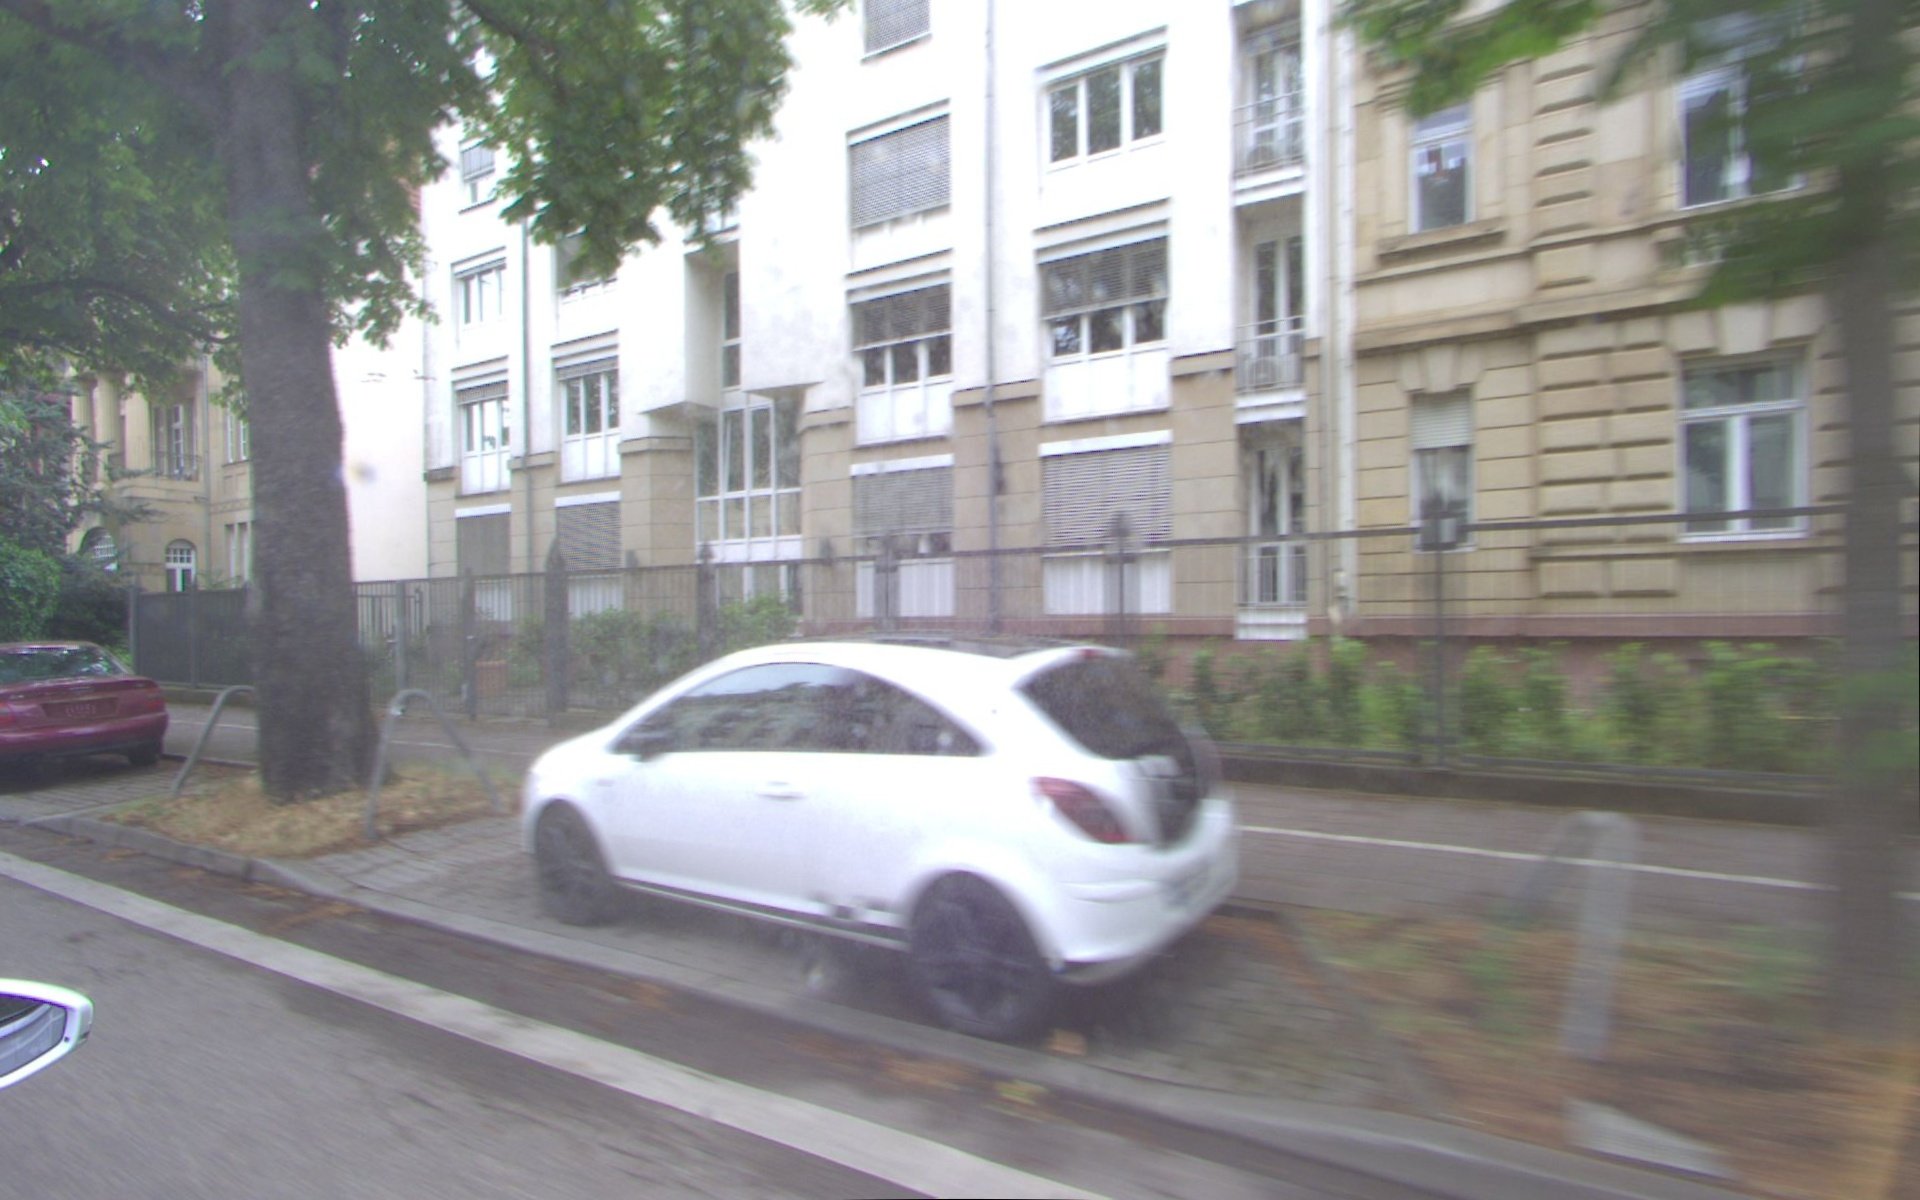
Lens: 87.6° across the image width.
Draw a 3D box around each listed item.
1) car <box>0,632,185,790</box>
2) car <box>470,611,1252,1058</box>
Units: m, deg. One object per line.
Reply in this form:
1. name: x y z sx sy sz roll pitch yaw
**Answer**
1. car: -10.484 1.104 11.131 4.167 1.418 1.598 -1 1 32
2. car: -0.625 0.822 5.035 3.723 1.455 1.598 -1 1 33
